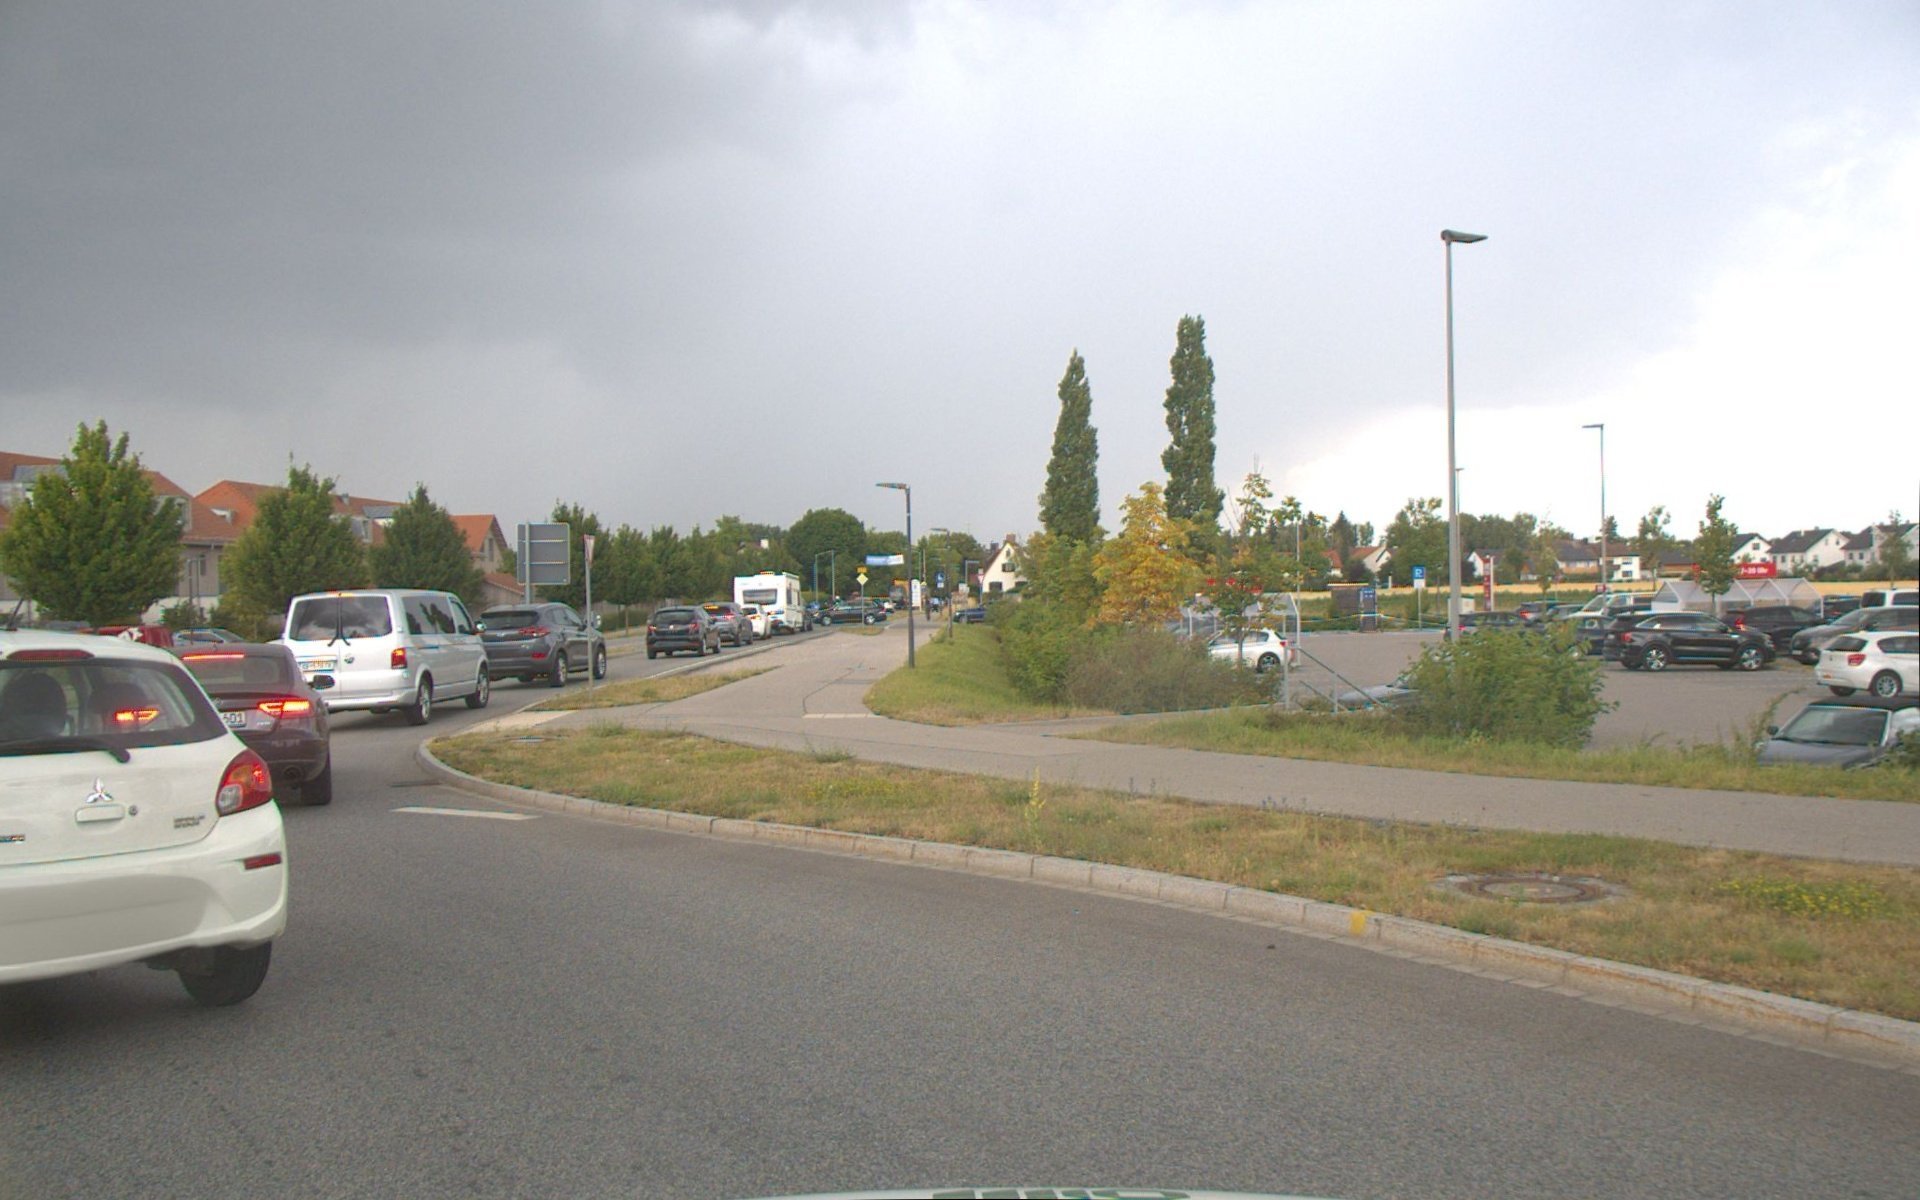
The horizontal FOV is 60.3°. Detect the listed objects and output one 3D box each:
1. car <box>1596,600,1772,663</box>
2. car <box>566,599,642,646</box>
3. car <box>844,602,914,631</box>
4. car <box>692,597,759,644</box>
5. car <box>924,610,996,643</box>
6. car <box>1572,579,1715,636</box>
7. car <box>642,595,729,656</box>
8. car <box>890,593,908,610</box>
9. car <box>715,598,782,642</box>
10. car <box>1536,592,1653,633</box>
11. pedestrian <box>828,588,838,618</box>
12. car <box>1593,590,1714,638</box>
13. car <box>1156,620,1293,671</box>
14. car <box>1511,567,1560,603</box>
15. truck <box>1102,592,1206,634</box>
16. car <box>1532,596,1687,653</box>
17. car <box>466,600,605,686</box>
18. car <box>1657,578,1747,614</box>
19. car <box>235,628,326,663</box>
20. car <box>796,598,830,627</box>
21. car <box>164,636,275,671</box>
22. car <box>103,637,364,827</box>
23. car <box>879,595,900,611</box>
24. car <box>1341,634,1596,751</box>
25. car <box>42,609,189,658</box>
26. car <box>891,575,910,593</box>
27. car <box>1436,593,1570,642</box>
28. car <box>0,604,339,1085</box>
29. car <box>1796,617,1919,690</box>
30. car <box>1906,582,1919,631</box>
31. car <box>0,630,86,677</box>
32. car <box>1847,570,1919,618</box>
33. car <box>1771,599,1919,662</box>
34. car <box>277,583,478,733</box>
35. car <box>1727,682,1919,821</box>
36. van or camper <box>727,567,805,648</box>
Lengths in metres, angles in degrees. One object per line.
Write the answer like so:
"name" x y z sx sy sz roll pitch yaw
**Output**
"car" 21.093 0.912 48.305 4.359 1.736 1.803 -1 0 0
"car" -11.922 0.733 55.596 1.740 1.459 3.801 -2 0 -1
"car" -4.699 0.950 96.182 3.905 1.646 2.000 1 0 0
"car" -8.001 0.685 56.809 1.740 1.459 3.801 -2 0 -1
"car" -0.003 1.548 97.340 3.904 1.825 1.619 -2 0 20
"car" 27.436 0.284 66.425 5.015 2.048 1.996 -2 1 -10
"car" -7.913 0.711 47.977 1.740 1.646 4.000 -2 0 1
"car" -6.709 0.176 182.424 1.953 1.870 3.999 -1 0 -1
"car" -8.330 0.765 65.410 1.952 1.624 4.001 -1 0 2
"car" 26.636 0.522 69.561 4.222 1.605 1.768 -2 0 2
"pedestrian" -8.685 0.222 113.055 0.566 2.049 0.682 1 0 7
"car" 26.621 0.519 63.597 3.905 1.736 1.716 -1 0 0
"car" 8.552 1.468 53.737 4.145 1.465 2.000 -2 0 1
"car" 34.446 -0.891 99.069 1.951 2.049 4.003 1 0 7
"truck" 9.404 0.619 80.461 4.701 1.905 1.998 -1 0 -4
"car" 21.325 0.790 54.432 4.313 1.693 2.000 -2 0 1
"car" -8.659 0.840 34.068 1.740 1.646 4.000 -1 0 1
"car" 39.322 -0.203 87.713 3.903 1.870 2.001 -1 0 4
"car" -32.439 2.155 79.029 3.655 1.508 1.686 -1 0 -3
"car" -10.664 0.879 120.453 1.952 2.049 4.001 -1 0 2
"car" -31.145 2.251 69.611 3.835 1.338 1.842 -1 0 -2
"car" -6.390 1.065 14.956 1.756 1.416 4.111 0 -1 -18
"car" -6.810 0.280 160.733 1.807 1.461 4.000 -1 0 0
"car" 8.992 1.609 29.413 3.912 1.633 1.790 -1 8 -8
"car" -31.126 1.219 61.038 4.435 1.709 2.001 -1 0 4
"car" -7.589 -1.997 210.781 1.951 2.250 4.003 -1 0 5
"car" 20.732 0.647 63.269 4.463 1.693 2.000 -2 0 1
"car" -4.191 0.829 6.692 3.333 1.545 1.626 -2 -1 37
"car" 20.865 1.164 36.609 3.904 1.511 1.681 -1 0 -4
"car" 38.893 0.218 63.572 3.903 1.870 2.001 -1 0 4
"car" -38.541 2.200 68.499 1.951 1.803 4.468 -2 0 6
"car" 38.254 -0.255 66.698 3.903 1.870 2.001 -1 0 4
"car" 26.737 0.871 48.516 4.872 1.693 2.000 -2 0 0
"car" -8.662 0.800 24.962 1.831 1.967 3.995 -3 0 -5
"car" 11.386 1.839 20.880 3.692 1.396 1.560 -1 0 -37
"van or camper" -8.589 0.343 73.860 2.571 3.382 6.821 -1 -1 0
